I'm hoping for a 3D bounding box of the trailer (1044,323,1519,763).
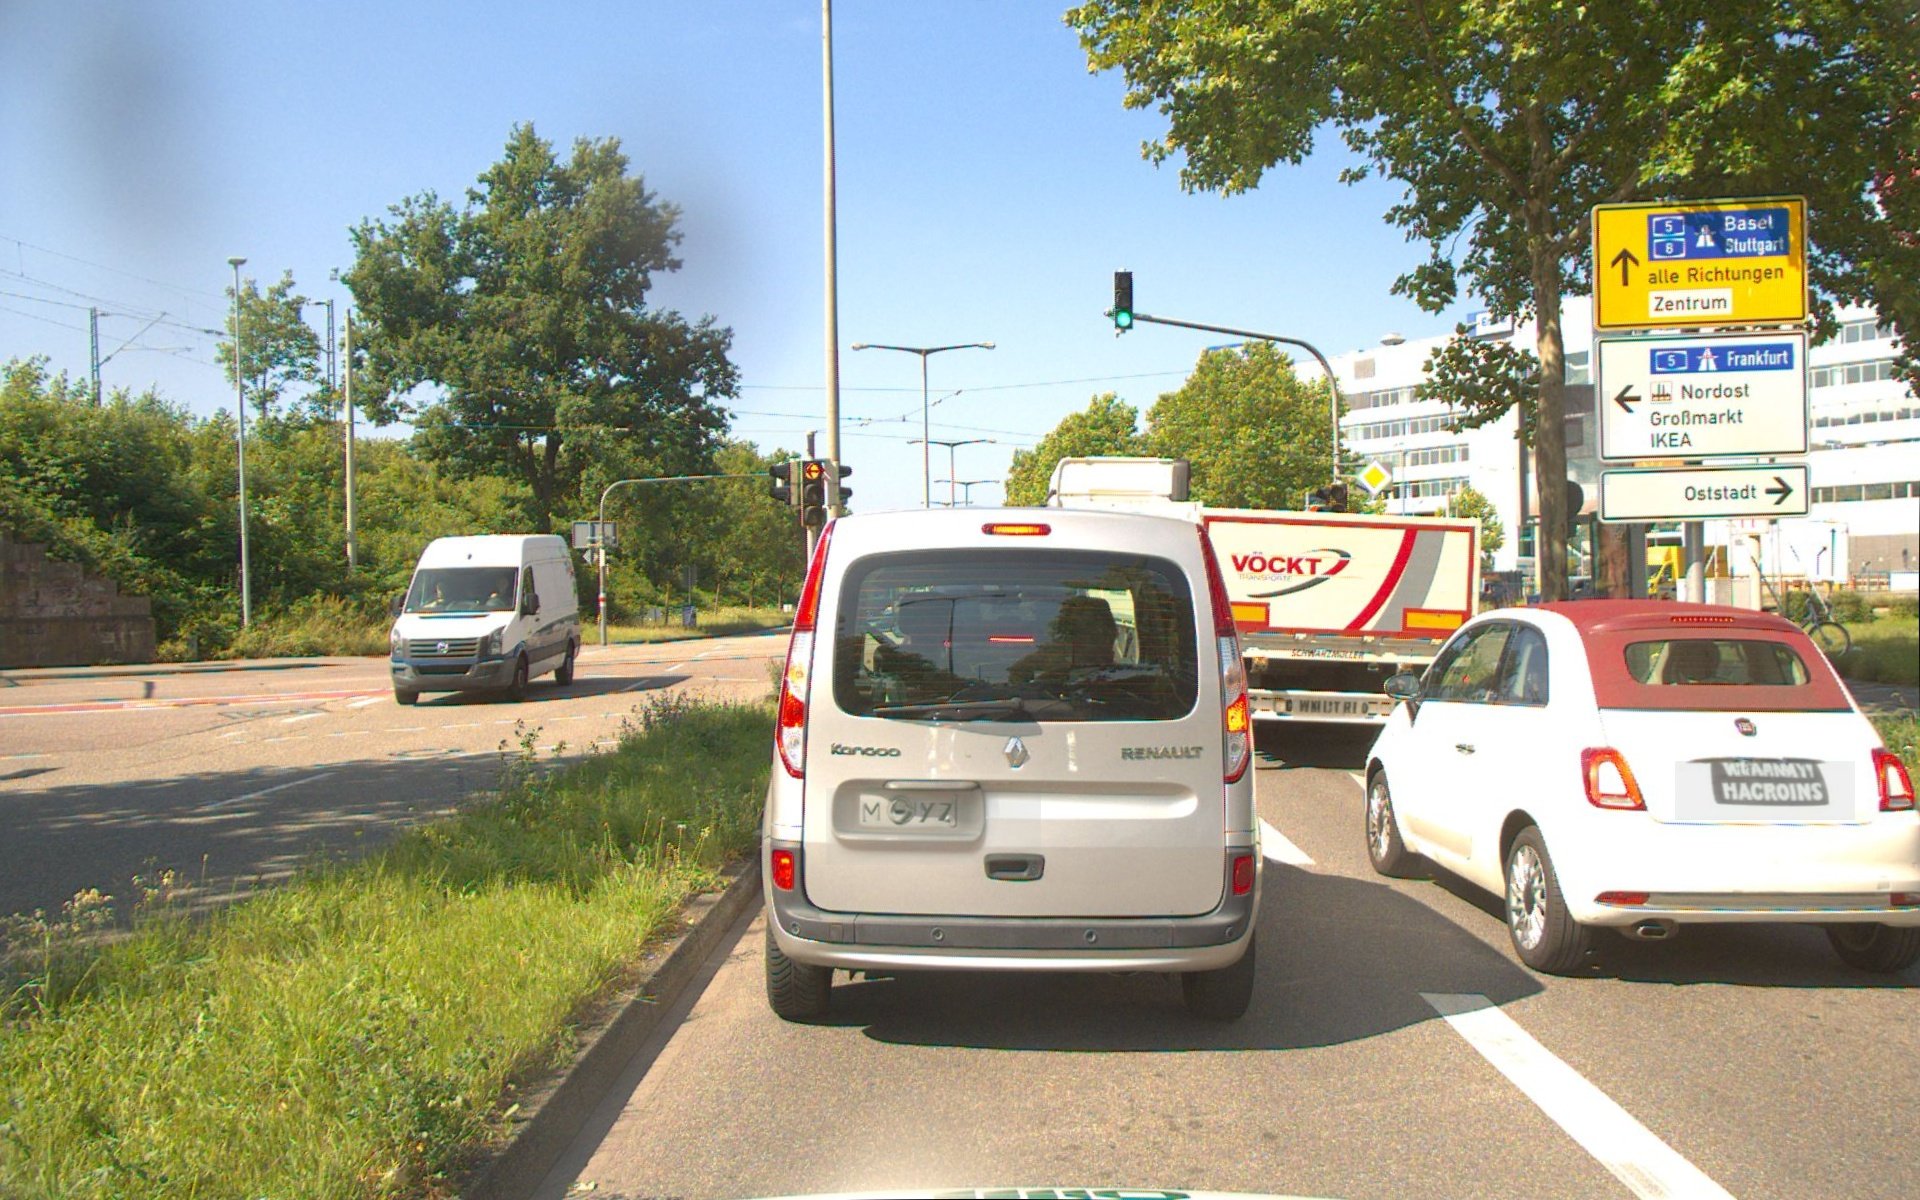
[{"bbox_3d":[3.060,-0.456,20.366,2.842,3.686,12.679,1,0,-2],"label":"trailer"}]

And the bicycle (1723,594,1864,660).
[{"bbox_3d":[13.674,0.448,27.182,1.959,1.031,0.621,-1,0,16],"label":"bicycle"}]

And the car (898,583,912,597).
[{"bbox_3d":[-8.373,-1.547,250.694,1.849,2.049,4.001,1,0,1],"label":"car"}]

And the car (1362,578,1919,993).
[{"bbox_3d":[3.089,0.707,7.855,1.507,1.541,3.259,1,0,-1],"label":"car"}]

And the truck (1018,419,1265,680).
[{"bbox_3d":[2.752,-0.711,27.425,2.853,3.707,7.184,1,0,-3],"label":"truck"}]

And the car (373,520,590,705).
[{"bbox_3d":[-7.813,0.184,27.693,1.953,2.709,5.785,-2,0,-1],"label":"car"}]

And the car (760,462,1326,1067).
[{"bbox_3d":[0.237,0.527,7.195,1.750,1.870,3.999,1,0,-1],"label":"car"}]

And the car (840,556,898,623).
[{"bbox_3d":[-3.789,-0.410,69.609,1.952,2.653,5.135,-1,0,2],"label":"car"}]

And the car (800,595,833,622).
[{"bbox_3d":[-8.547,0.501,98.746,1.665,1.534,3.999,-1,1,-1],"label":"car"}]
